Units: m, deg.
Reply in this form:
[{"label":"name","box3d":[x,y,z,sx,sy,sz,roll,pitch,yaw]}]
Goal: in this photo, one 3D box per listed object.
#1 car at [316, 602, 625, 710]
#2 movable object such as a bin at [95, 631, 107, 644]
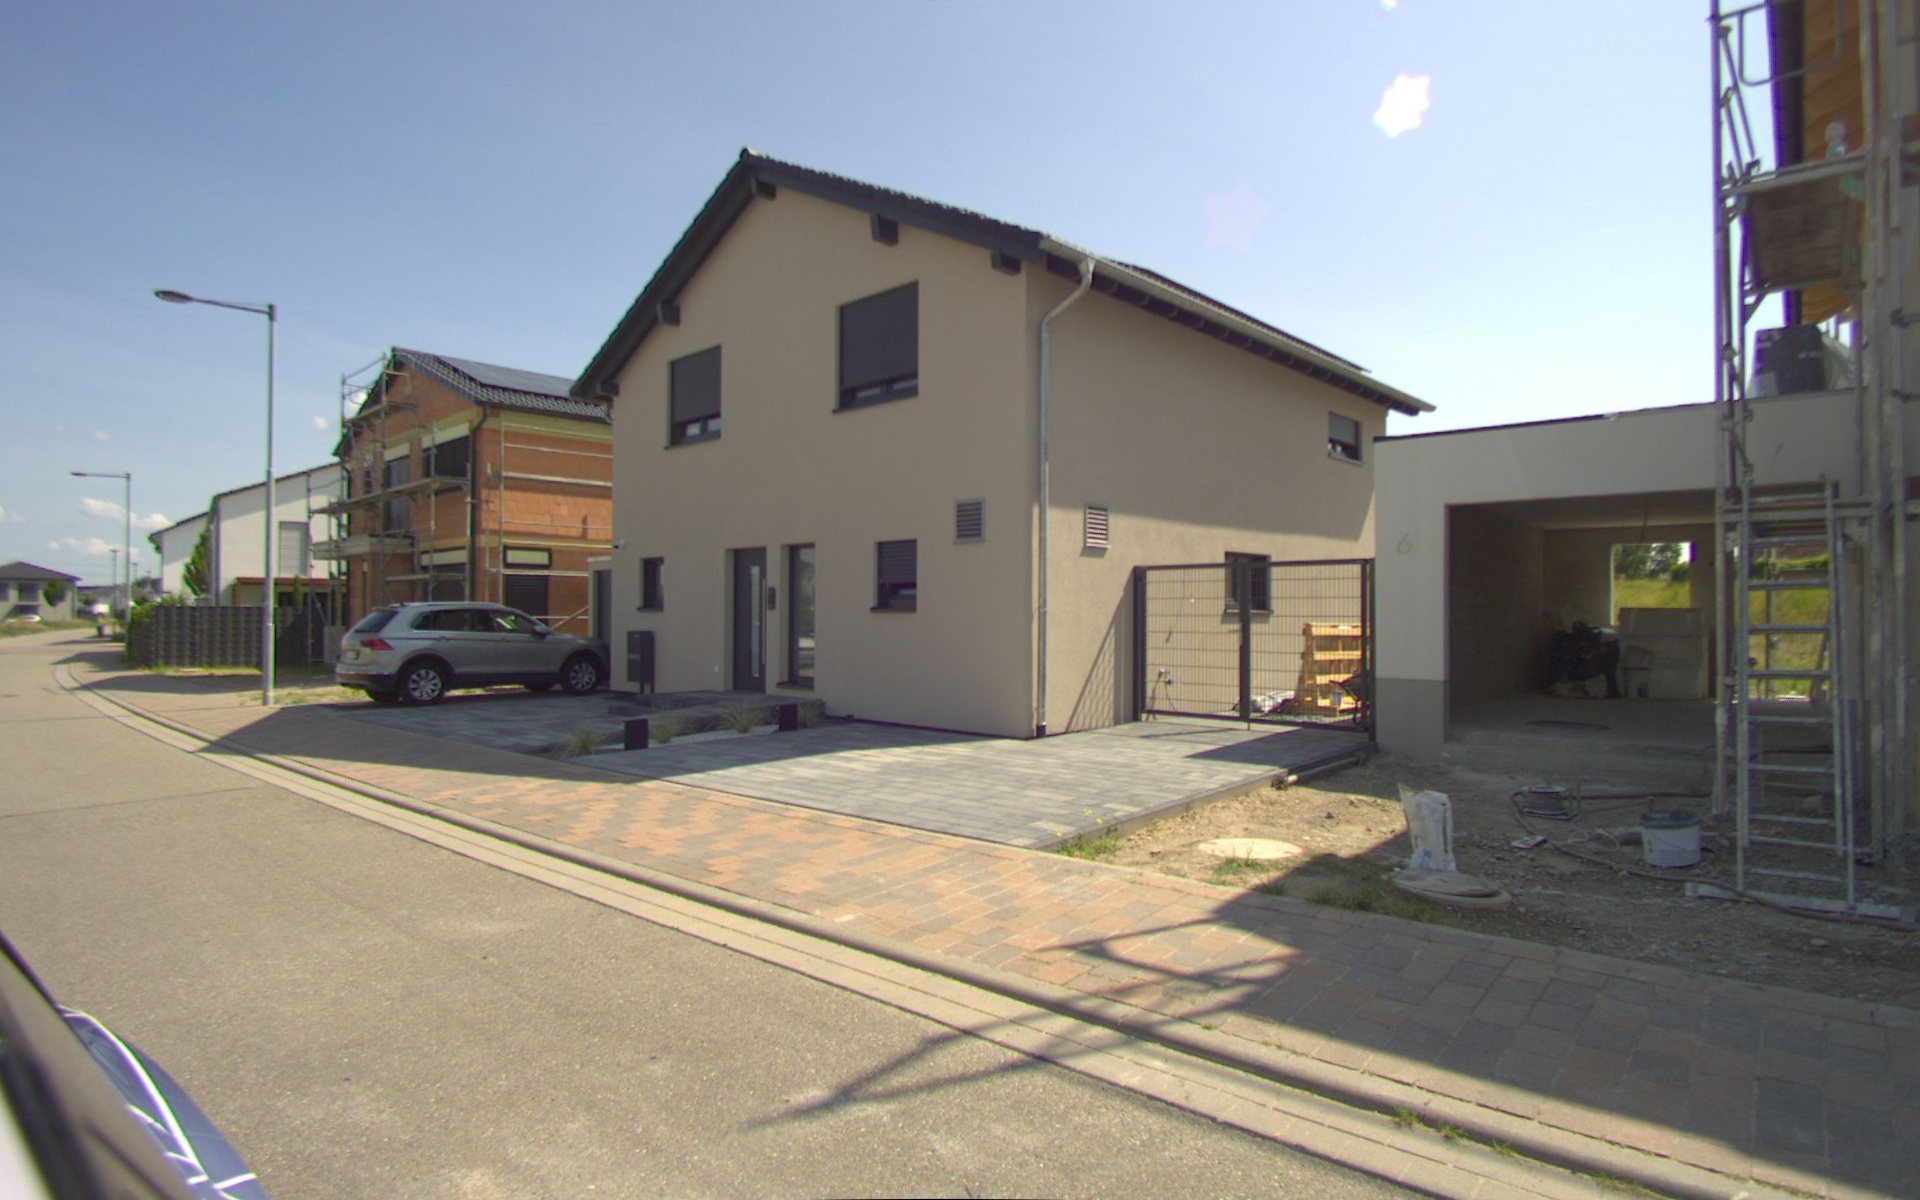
[{"label":"car","box3d":[-8.279,0.897,17.450,1.999,1.624,4.378,-2,-2,41]},{"label":"movable object such as a bin","box3d":[-61.534,2.704,72.473,0.588,0.928,0.462,1,-2,-36]}]
